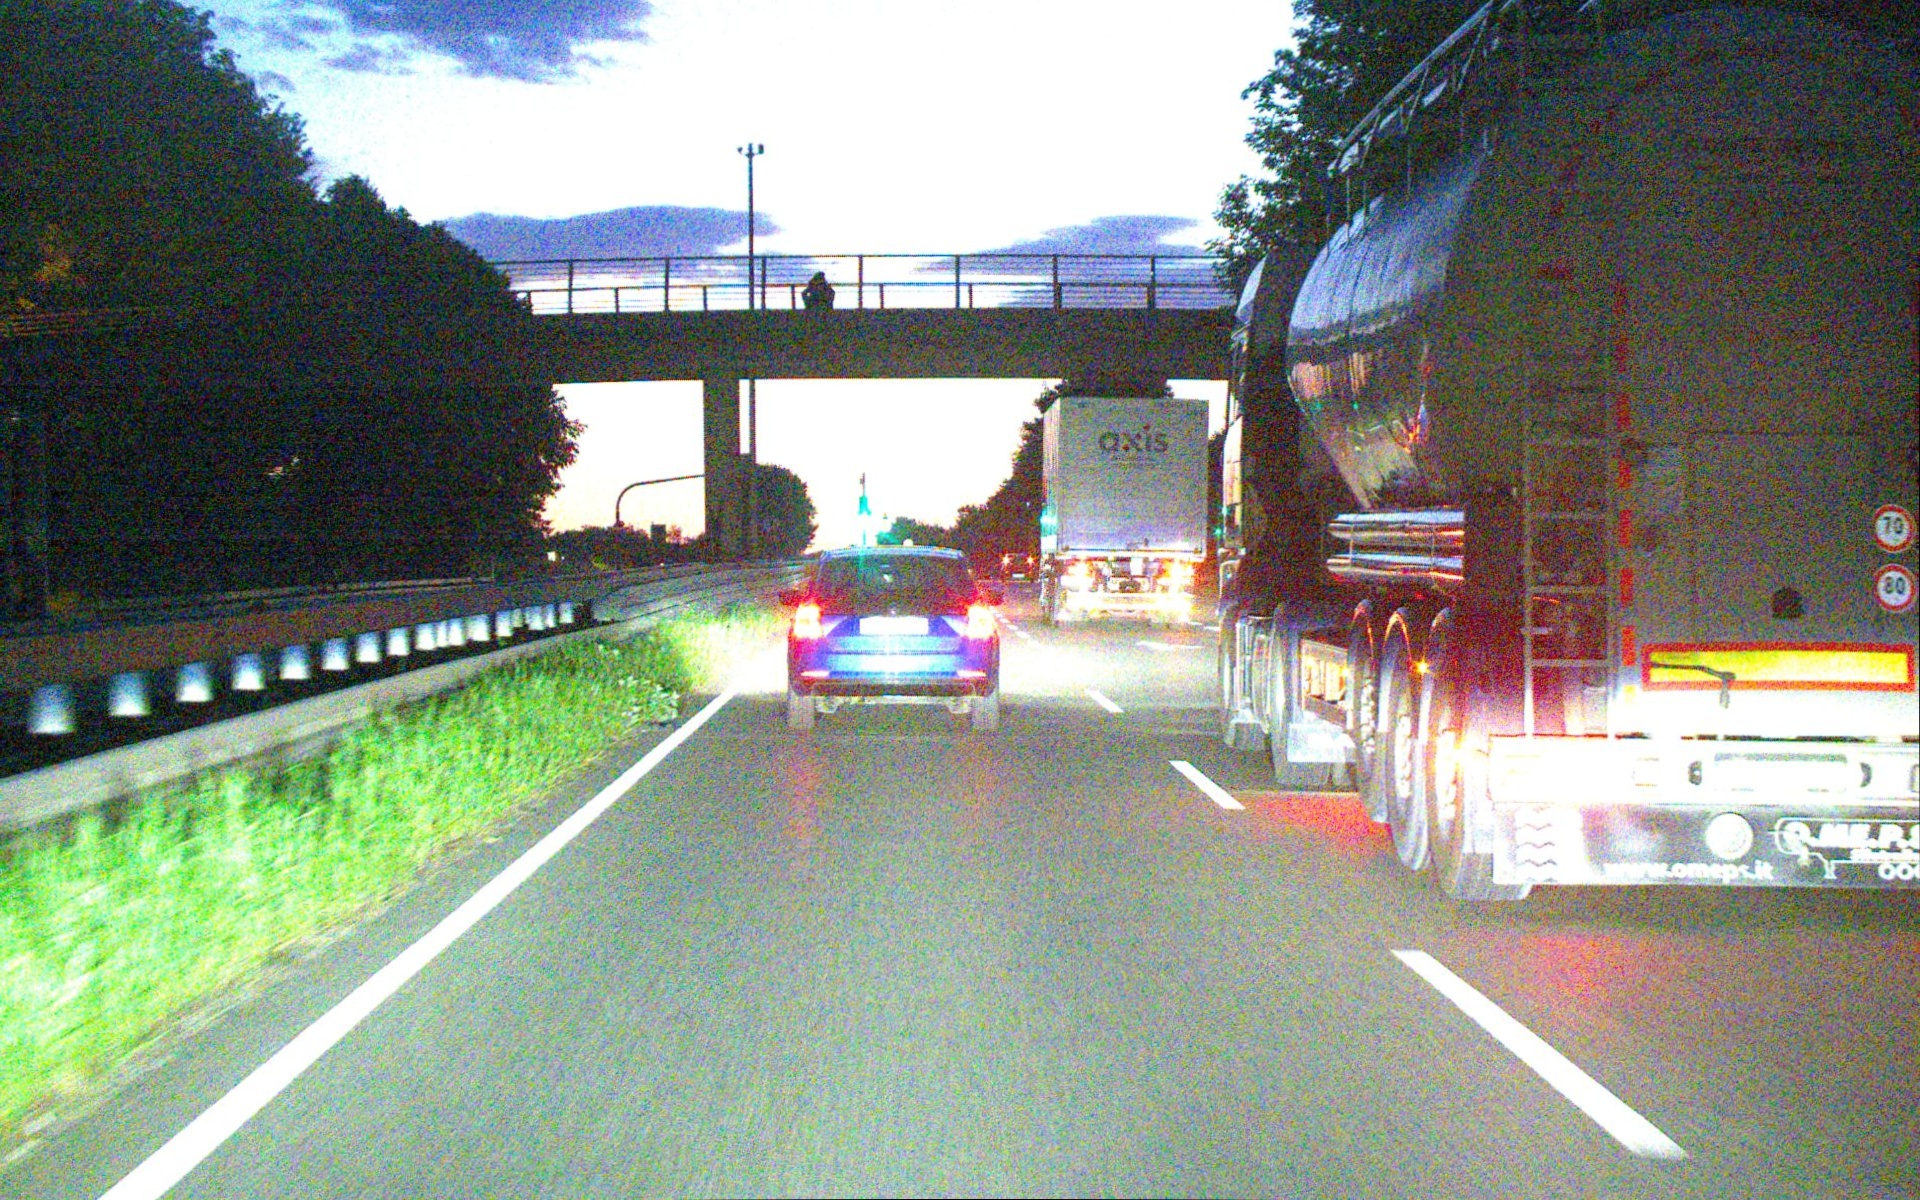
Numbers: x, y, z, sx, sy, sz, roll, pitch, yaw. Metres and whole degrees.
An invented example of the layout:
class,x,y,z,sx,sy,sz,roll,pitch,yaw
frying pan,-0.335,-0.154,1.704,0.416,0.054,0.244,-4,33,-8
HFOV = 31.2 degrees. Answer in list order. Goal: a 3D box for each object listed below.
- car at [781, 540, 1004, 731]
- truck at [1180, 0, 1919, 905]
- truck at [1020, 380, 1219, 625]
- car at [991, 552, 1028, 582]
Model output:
class,x,y,z,sx,sy,sz,roll,pitch,yaw
car,-0.554,0.254,28.442,1.695,1.447,3.914,1,1,-1
truck,3.189,-0.920,20.119,2.687,4.092,13.142,1,1,-1
truck,2.800,-1.721,64.348,2.883,4.092,12.684,1,1,-1
car,2.467,-1.645,172.427,1.695,1.447,3.914,1,1,-1
